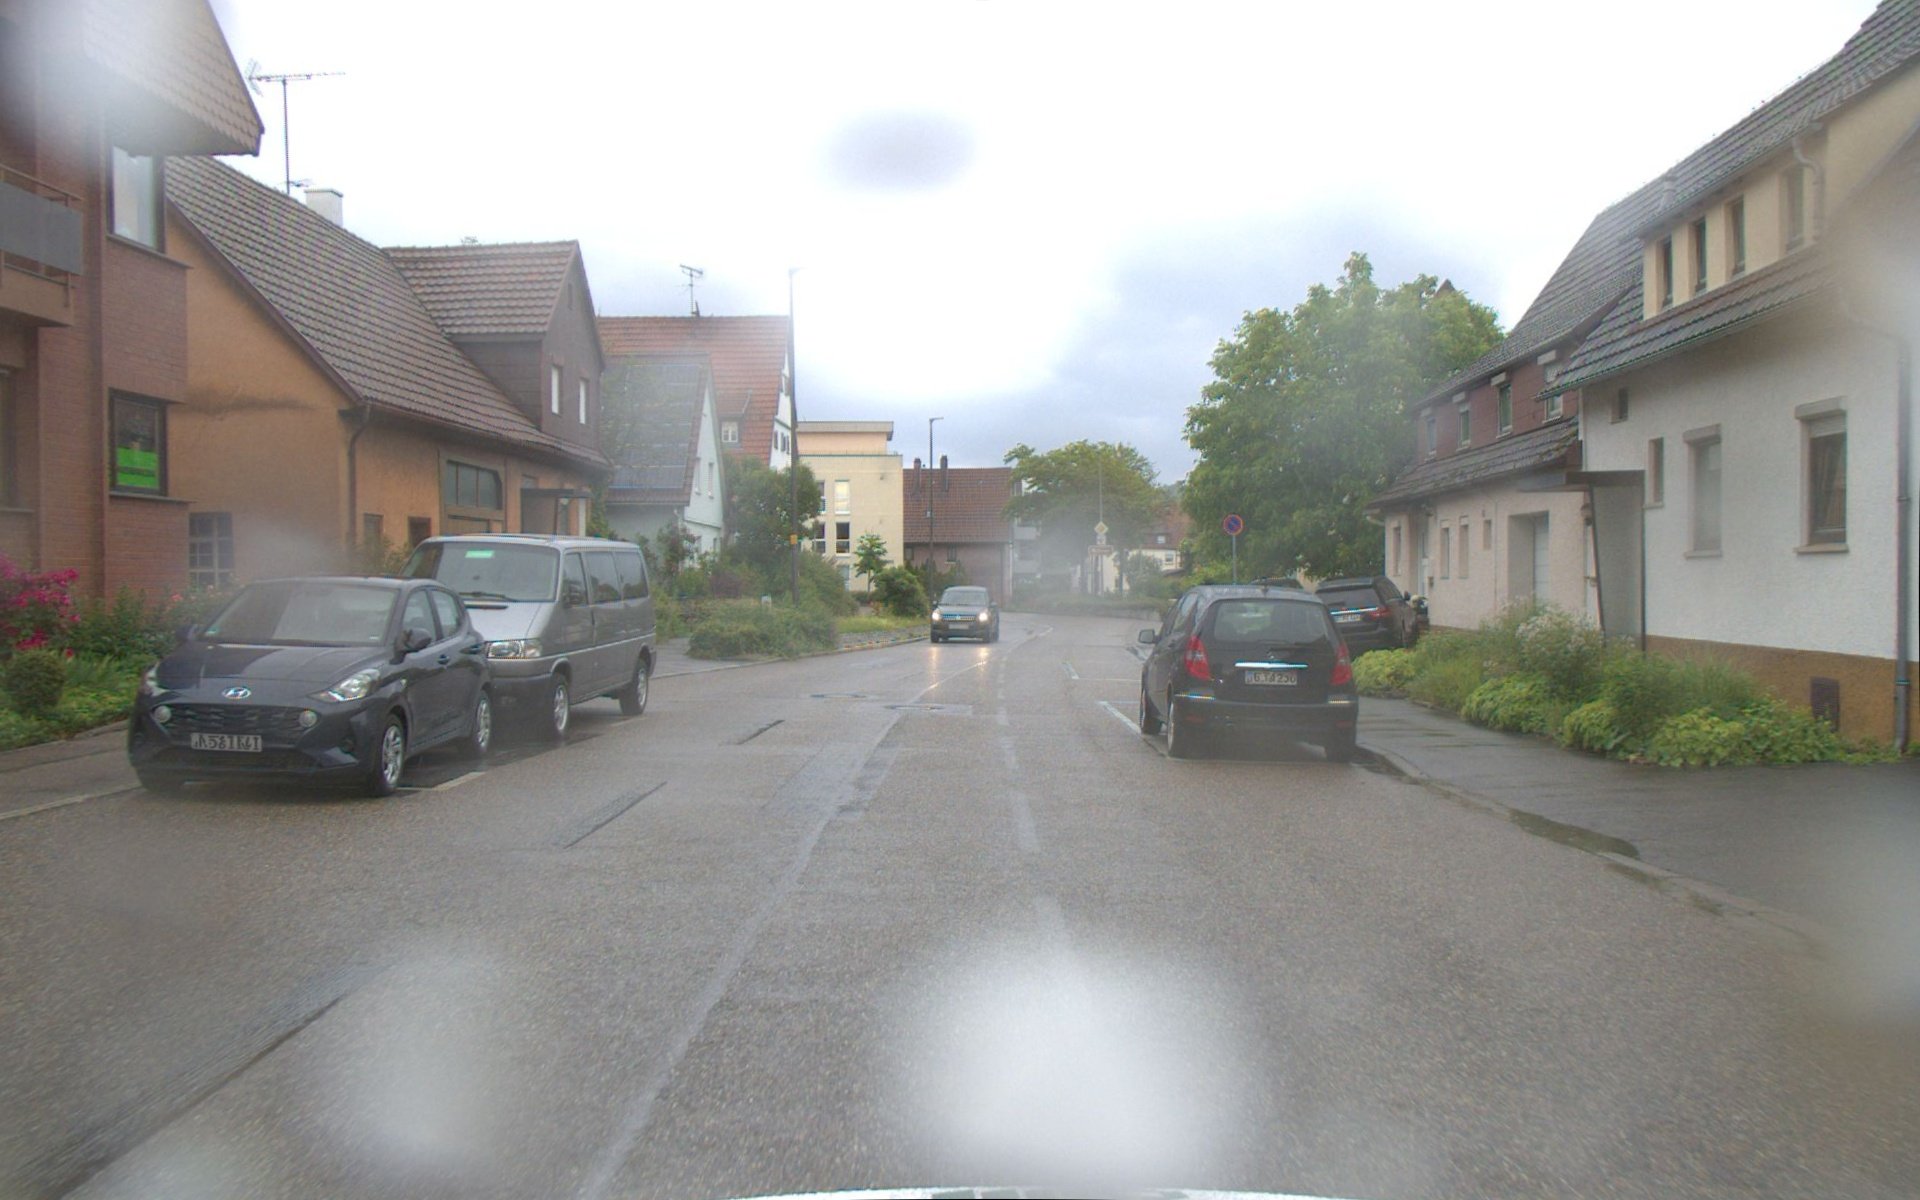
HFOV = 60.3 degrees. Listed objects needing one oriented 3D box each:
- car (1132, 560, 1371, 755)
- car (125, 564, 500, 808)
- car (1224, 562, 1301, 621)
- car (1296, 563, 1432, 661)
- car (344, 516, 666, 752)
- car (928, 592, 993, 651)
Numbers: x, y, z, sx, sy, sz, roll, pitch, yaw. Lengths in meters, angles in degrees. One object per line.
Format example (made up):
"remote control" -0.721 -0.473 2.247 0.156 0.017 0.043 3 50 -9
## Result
"car" 2.831 0.508 16.882 1.714 1.739 4.000 -1 0 0
"car" -4.589 0.534 12.256 1.547 1.523 3.565 -1 0 -4
"car" 7.871 -0.227 43.238 1.603 1.455 3.679 -1 0 4
"car" 7.306 0.171 29.646 1.723 1.417 4.001 -6 -1 21
"car" -4.435 0.287 17.042 1.784 2.049 5.215 -1 0 1
"car" 0.044 0.608 49.287 1.760 1.669 4.001 0 0 2
